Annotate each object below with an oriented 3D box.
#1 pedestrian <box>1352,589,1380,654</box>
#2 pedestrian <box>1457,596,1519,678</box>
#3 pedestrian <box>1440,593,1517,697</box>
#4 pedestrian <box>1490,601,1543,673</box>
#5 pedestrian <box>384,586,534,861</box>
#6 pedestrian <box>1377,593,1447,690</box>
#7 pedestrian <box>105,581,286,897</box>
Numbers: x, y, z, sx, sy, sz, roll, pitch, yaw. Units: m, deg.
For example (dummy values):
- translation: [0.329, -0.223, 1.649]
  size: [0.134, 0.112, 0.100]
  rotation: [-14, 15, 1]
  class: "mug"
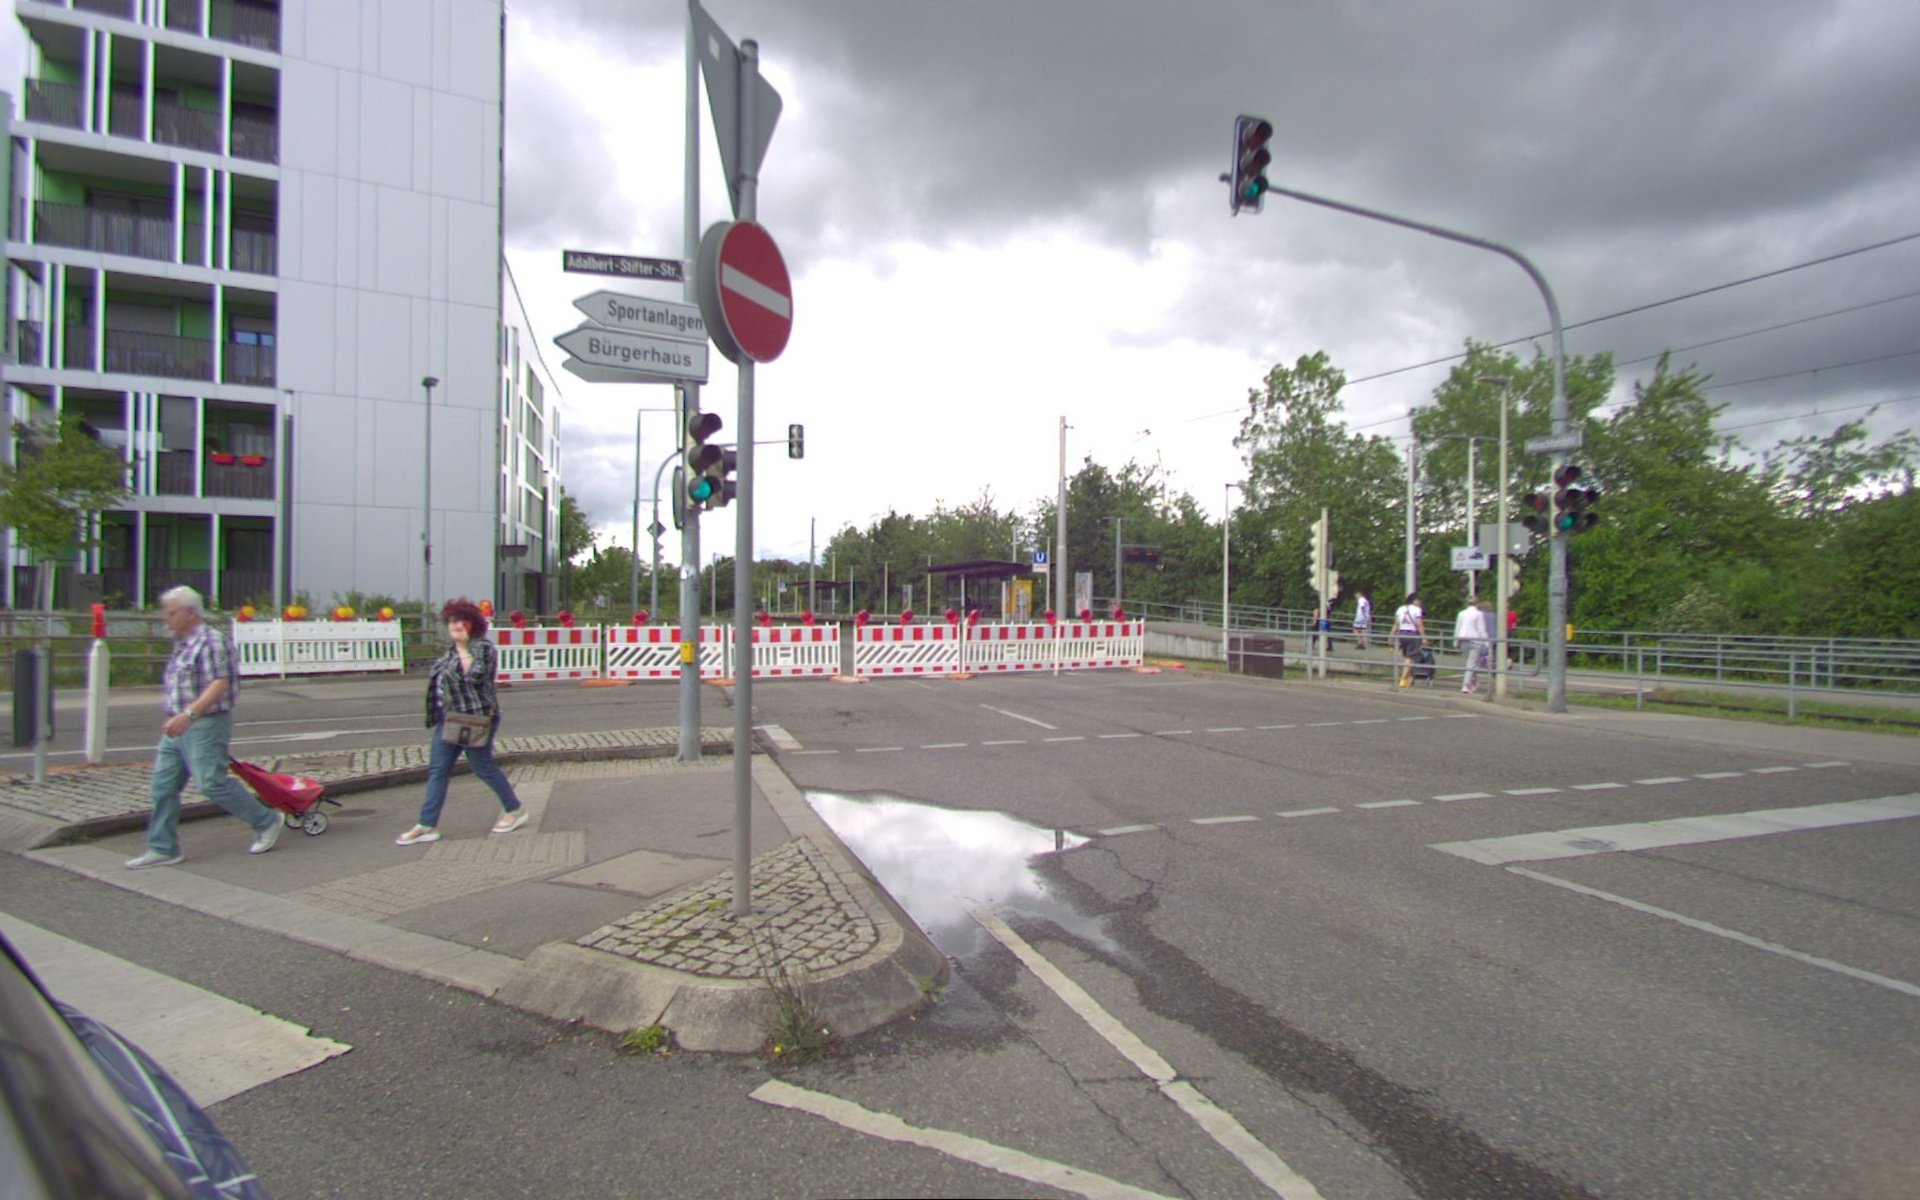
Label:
- translation: [11.337, 0.592, 28.267]
  size: [0.717, 1.761, 0.950]
  rotation: [0, 0, 22]
  class: "pedestrian"
- translation: [11.527, 0.788, 22.120]
  size: [0.710, 1.761, 0.960]
  rotation: [0, 0, -21]
  class: "pedestrian"
- translation: [8.998, 0.769, 17.577]
  size: [0.941, 1.761, 0.724]
  rotation: [0, 0, -12]
  class: "pedestrian"
- translation: [12.789, 0.833, 23.274]
  size: [0.791, 1.633, 0.725]
  rotation: [0, 0, -18]
  class: "pedestrian"
- translation: [-3.126, 0.709, 6.303]
  size: [0.720, 1.579, 0.694]
  rotation: [1, 0, -36]
  class: "pedestrian"
- translation: [8.398, 0.754, 18.826]
  size: [0.941, 1.761, 0.724]
  rotation: [0, 0, -12]
  class: "pedestrian"
- translation: [-4.351, 0.715, 5.762]
  size: [0.699, 1.646, 0.712]
  rotation: [1, 1, 44]
  class: "pedestrian"
